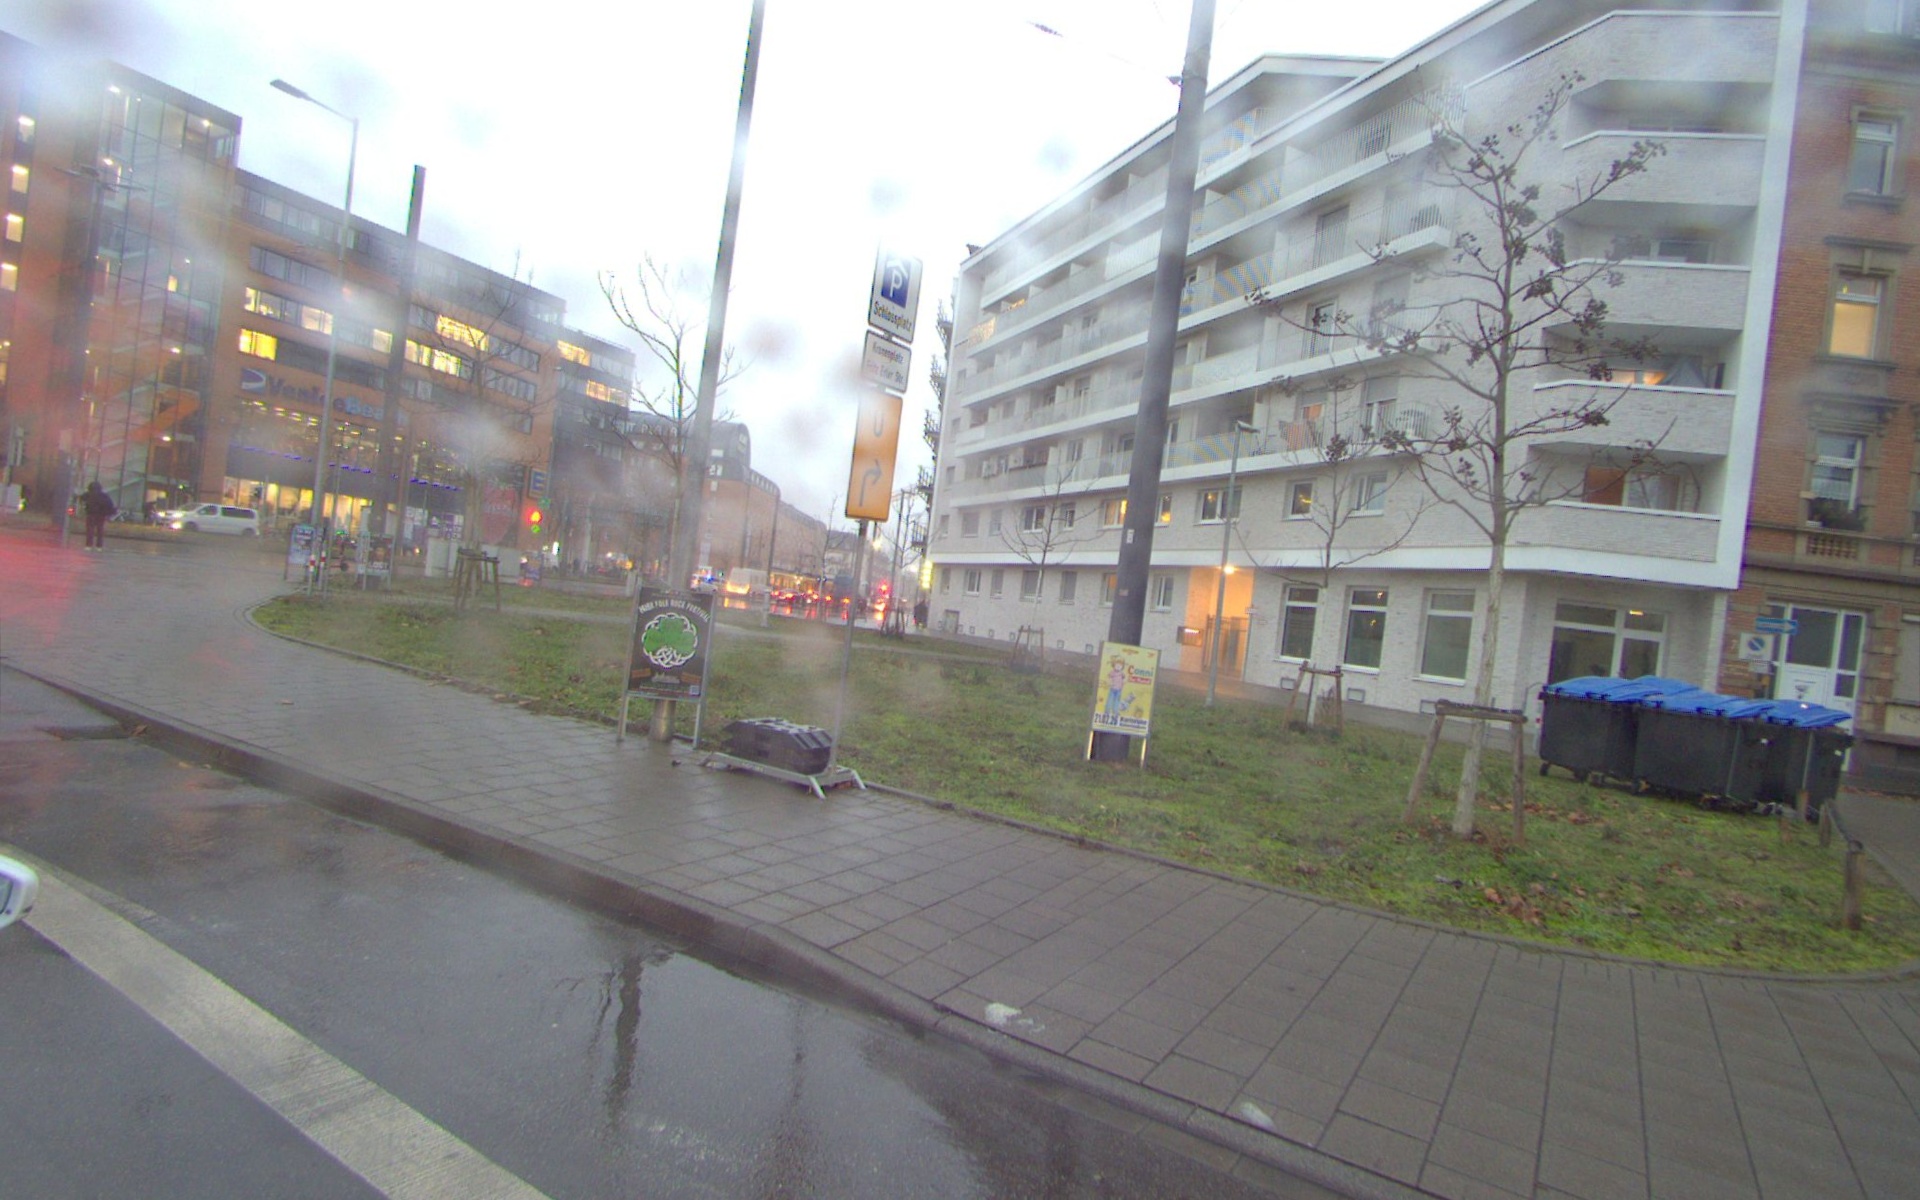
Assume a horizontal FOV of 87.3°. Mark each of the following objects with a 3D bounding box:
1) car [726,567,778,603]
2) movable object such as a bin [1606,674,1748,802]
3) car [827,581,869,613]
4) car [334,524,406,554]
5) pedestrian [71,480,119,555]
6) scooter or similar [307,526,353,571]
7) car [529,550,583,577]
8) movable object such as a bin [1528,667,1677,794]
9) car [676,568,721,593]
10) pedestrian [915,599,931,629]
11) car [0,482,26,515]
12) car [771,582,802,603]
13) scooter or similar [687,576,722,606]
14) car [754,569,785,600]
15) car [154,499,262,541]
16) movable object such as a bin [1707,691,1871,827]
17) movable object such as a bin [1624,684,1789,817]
[{"bbox_3d":[-17.447,-1.218,84.604,1.962,2.456,5.978,7,-1,10],"label":"car"},{"bbox_3d":[10.347,1.974,14.549,1.038,1.595,1.135,7,0,-19],"label":"movable object such as a bin"},{"bbox_3d":[-11.978,-0.252,107.859,2.317,2.860,6.364,7,-1,12],"label":"car"},{"bbox_3d":[-40.533,-4.155,69.241,1.598,1.462,4.426,7,-1,12],"label":"car"},{"bbox_3d":[-23.336,-2.207,27.147,0.768,1.901,0.629,6,1,-36],"label":"pedestrian"},{"bbox_3d":[-18.674,-1.514,29.835,0.327,1.221,1.309,7,0,4],"label":"scooter or similar"},{"bbox_3d":[-34.942,-3.120,87.228,1.893,1.740,4.613,7,-1,13],"label":"car"},{"bbox_3d":[9.036,1.812,14.196,1.038,1.529,1.247,7,0,-19],"label":"movable object such as a bin"},{"bbox_3d":[-19.811,-1.429,76.289,1.613,1.514,3.686,7,0,14],"label":"car"},{"bbox_3d":[-2.153,0.814,58.739,0.623,1.652,0.719,7,1,-17],"label":"pedestrian"},{"bbox_3d":[-48.443,-5.214,48.671,1.833,1.504,4.338,7,-1,25],"label":"car"},{"bbox_3d":[-15.750,-0.626,91.338,1.494,1.538,3.474,7,-1,11],"label":"car"},{"bbox_3d":[-12.356,-0.447,48.727,0.658,1.241,1.556,7,-2,26],"label":"scooter or similar"},{"bbox_3d":[-20.267,-1.618,107.239,2.321,2.861,6.355,7,-1,-5],"label":"car"},{"bbox_3d":[-43.748,-4.620,58.651,1.754,1.698,4.651,7,-1,22],"label":"car"},{"bbox_3d":[10.735,2.045,13.064,1.038,1.503,1.135,7,0,-19],"label":"movable object such as a bin"},{"bbox_3d":[9.607,1.918,12.990,1.038,1.450,1.220,7,0,-19],"label":"movable object such as a bin"}]
